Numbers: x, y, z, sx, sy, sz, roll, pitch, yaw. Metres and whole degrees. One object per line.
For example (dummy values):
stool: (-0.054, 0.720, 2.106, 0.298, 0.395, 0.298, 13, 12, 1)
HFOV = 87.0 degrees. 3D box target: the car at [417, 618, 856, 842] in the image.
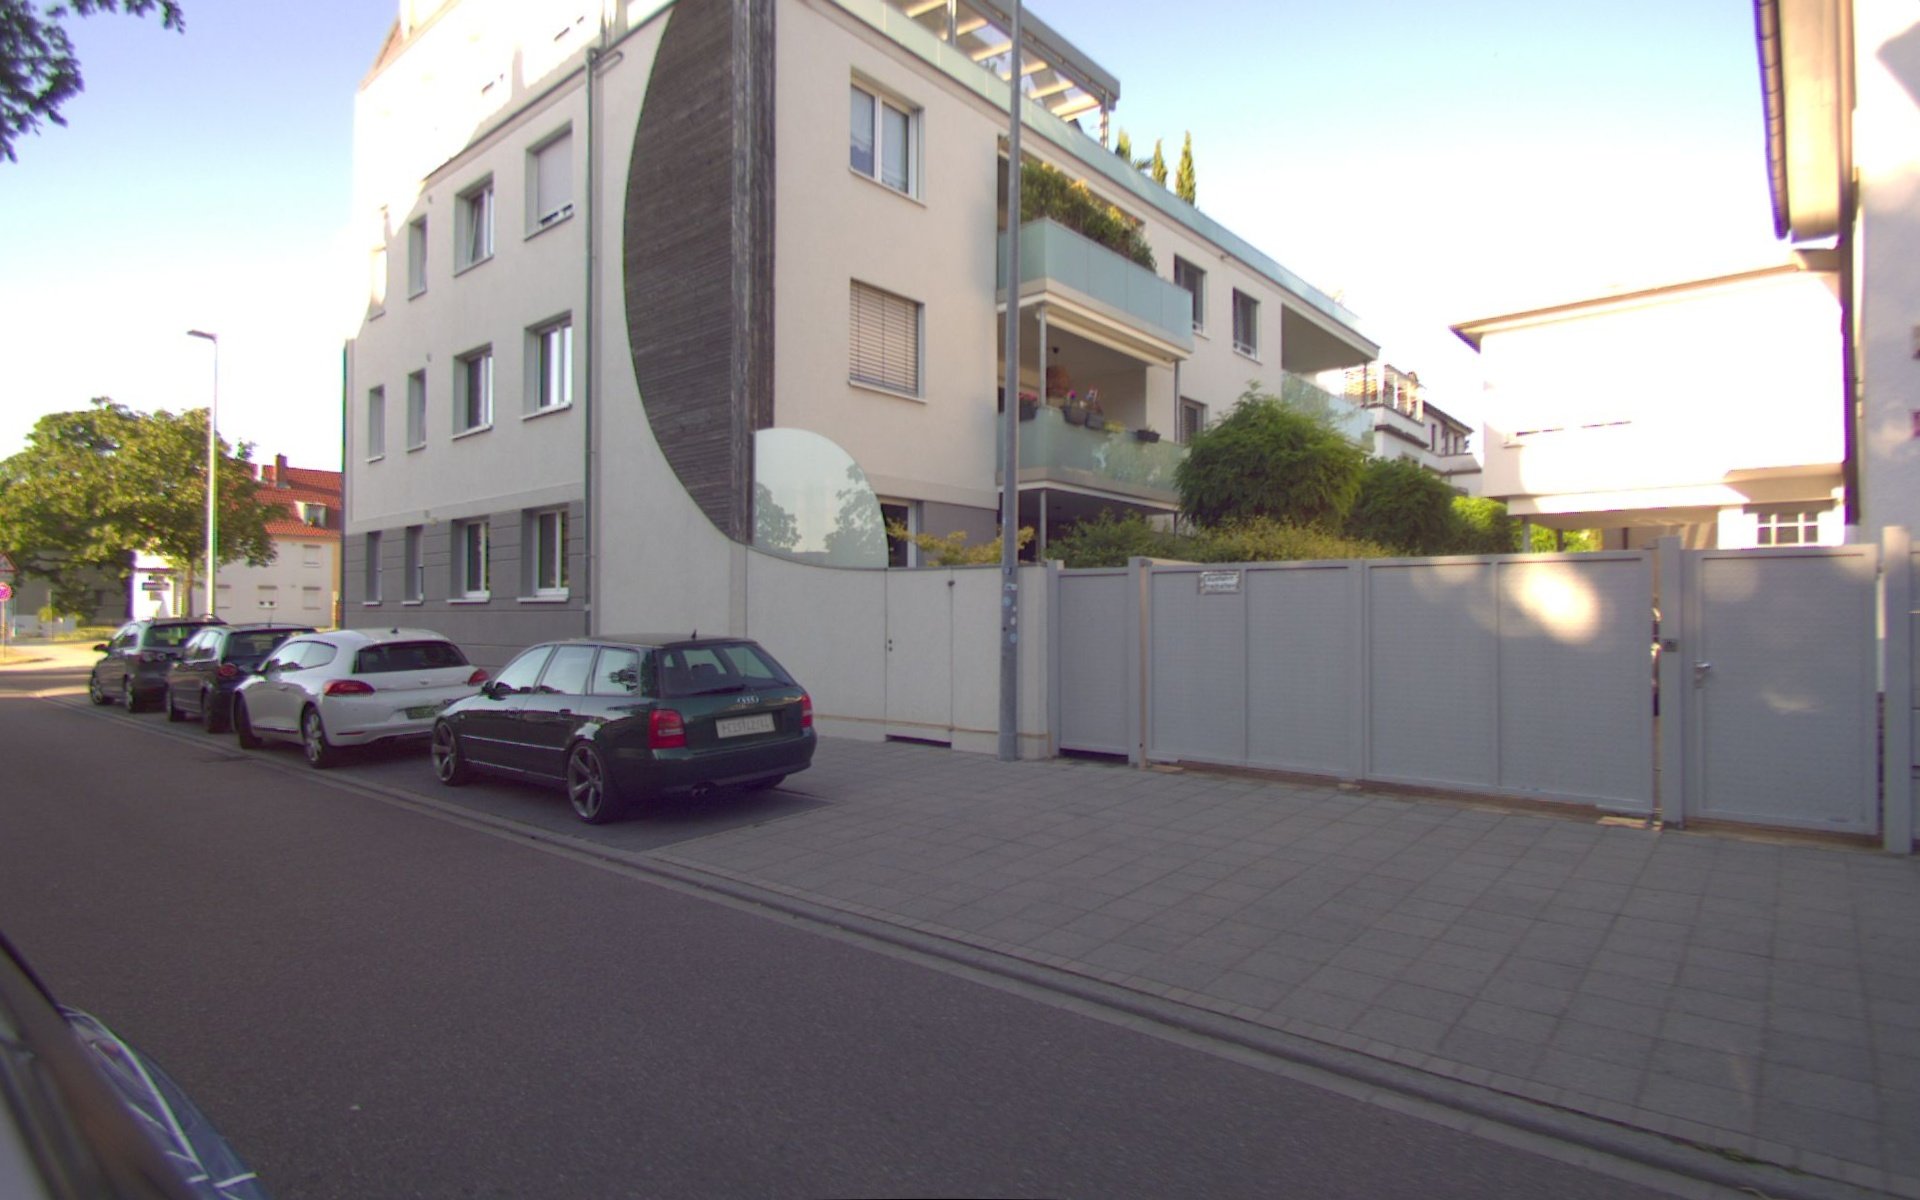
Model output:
car: (-2.943, 0.898, 8.738, 4.140, 1.458, 1.740, -1, -1, 41)

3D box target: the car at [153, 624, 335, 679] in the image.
car: (-24.254, 1.686, 34.432, 1.788, 1.682, 4.773, -1, -1, 41)

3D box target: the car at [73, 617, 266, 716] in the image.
car: (-14.488, 1.120, 18.487, 4.085, 1.603, 1.866, -1, -1, 38)

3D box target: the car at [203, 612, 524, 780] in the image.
car: (-6.964, 0.955, 11.676, 4.085, 1.603, 1.866, -1, -1, 38)

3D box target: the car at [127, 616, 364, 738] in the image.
car: (-10.868, 1.045, 15.309, 4.085, 1.603, 1.866, -1, -1, 38)

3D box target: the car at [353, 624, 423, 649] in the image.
car: (-40.915, 2.604, 72.417, 1.848, 1.708, 3.948, -3, -3, 38)
